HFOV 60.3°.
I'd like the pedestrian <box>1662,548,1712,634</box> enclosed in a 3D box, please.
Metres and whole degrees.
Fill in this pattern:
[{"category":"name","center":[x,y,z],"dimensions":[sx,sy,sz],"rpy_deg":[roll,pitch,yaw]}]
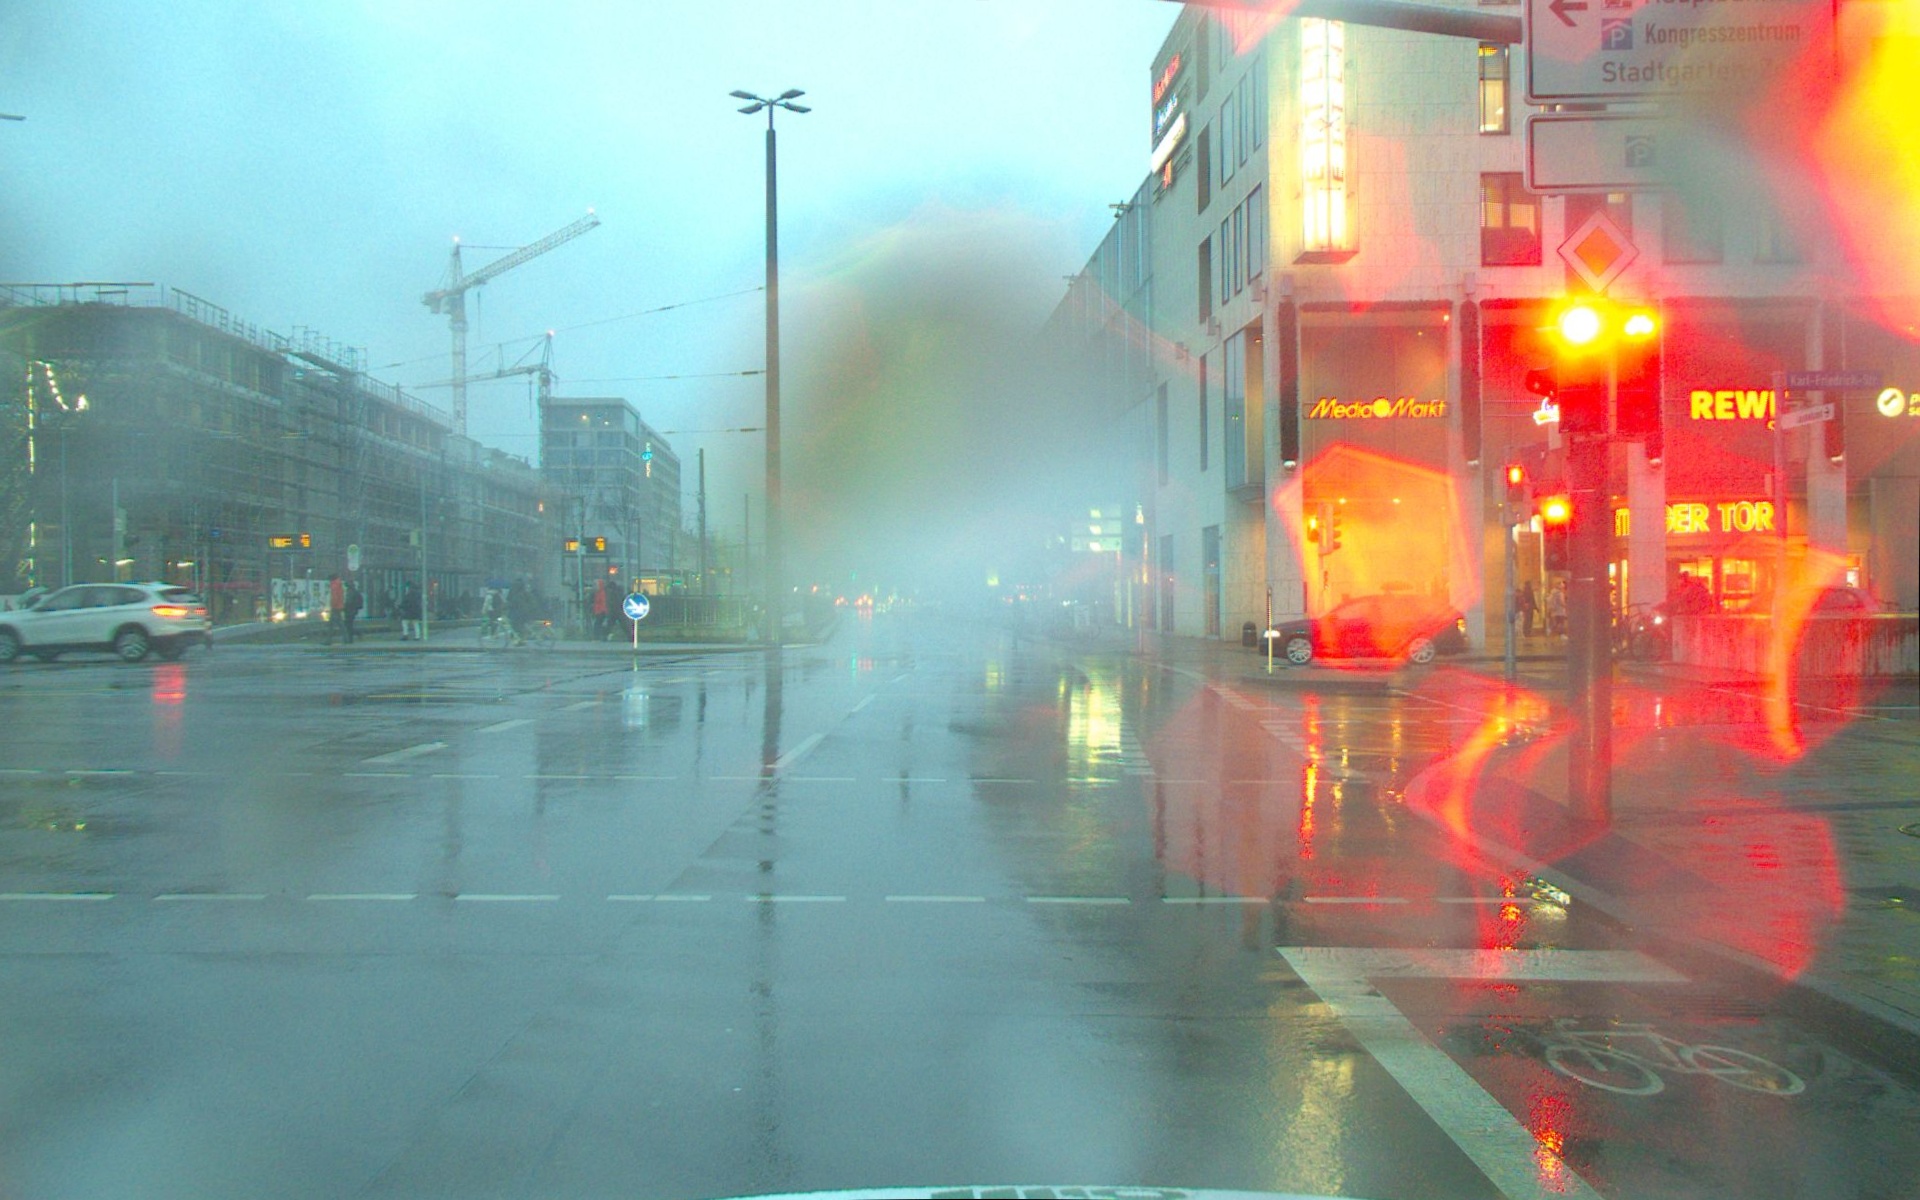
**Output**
[{"category":"pedestrian","center":[14.000,-0.167,31.862],"dimensions":[0.764,1.623,0.613],"rpy_deg":[-1,0,14]}]

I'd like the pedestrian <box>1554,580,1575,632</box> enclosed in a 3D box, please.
[{"category":"pedestrian","center":[20.354,0.196,55.707],"dimensions":[0.526,1.748,0.500],"rpy_deg":[-1,0,37]}]

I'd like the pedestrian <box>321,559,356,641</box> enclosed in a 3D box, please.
[{"category":"pedestrian","center":[-16.396,0.001,43.622],"dimensions":[0.682,2.124,0.604],"rpy_deg":[0,0,-41]}]

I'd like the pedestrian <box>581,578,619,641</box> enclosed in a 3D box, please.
[{"category":"pedestrian","center":[-9.992,0.264,45.912],"dimensions":[0.814,1.709,0.619],"rpy_deg":[-1,0,23]}]

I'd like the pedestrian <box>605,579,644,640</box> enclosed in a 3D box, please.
[{"category":"pedestrian","center":[-9.449,0.270,46.648],"dimensions":[0.826,1.718,0.677],"rpy_deg":[-1,0,25]}]

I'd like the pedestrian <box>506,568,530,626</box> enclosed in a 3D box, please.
[{"category":"pedestrian","center":[-13.610,-0.089,50.925],"dimensions":[0.607,1.776,0.612],"rpy_deg":[-1,0,-6]}]

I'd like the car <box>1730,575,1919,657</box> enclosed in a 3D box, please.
[{"category":"car","center":[18.200,0.335,34.493],"dimensions":[3.498,1.610,1.675],"rpy_deg":[-1,-1,-3]}]

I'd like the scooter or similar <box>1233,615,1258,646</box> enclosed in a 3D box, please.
[{"category":"scooter or similar","center":[8.873,0.940,51.396],"dimensions":[0.726,0.932,0.400],"rpy_deg":[-1,0,0]}]

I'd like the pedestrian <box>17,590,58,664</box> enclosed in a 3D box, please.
[{"category":"pedestrian","center":[-25.787,0.751,46.241],"dimensions":[0.778,2.049,0.745],"rpy_deg":[-1,0,-11]}]

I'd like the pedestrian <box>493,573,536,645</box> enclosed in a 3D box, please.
[{"category":"pedestrian","center":[-10.228,0.205,37.968],"dimensions":[0.798,1.598,0.536],"rpy_deg":[2,-3,-4]}]

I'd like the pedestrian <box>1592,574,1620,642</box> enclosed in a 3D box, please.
[{"category":"pedestrian","center":[16.285,0.202,41.702],"dimensions":[0.526,1.715,0.547],"rpy_deg":[-1,0,37]}]

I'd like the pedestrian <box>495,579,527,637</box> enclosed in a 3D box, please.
[{"category":"pedestrian","center":[-12.854,0.216,47.319],"dimensions":[0.697,1.647,0.609],"rpy_deg":[-1,0,45]}]

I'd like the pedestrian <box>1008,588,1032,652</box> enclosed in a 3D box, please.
[{"category":"pedestrian","center":[1.718,0.569,47.210],"dimensions":[0.620,1.803,0.483],"rpy_deg":[-1,0,-2]}]

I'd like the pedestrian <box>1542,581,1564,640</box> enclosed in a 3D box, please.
[{"category":"pedestrian","center":[17.980,0.312,50.156],"dimensions":[0.501,1.791,0.374],"rpy_deg":[-1,0,-1]}]

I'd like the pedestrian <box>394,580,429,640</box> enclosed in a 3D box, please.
[{"category":"pedestrian","center":[-15.256,0.266,45.999],"dimensions":[0.691,1.647,0.681],"rpy_deg":[-1,0,8]}]

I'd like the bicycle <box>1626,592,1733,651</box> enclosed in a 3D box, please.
[{"category":"bicycle","center":[13.844,0.413,31.858],"dimensions":[1.806,1.112,0.618],"rpy_deg":[-1,0,14]}]

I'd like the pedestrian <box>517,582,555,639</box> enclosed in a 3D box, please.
[{"category":"pedestrian","center":[-12.229,0.296,47.696],"dimensions":[0.739,1.635,0.799],"rpy_deg":[0,0,-43]}]

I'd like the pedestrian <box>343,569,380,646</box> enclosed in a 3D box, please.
[{"category":"pedestrian","center":[-16.128,0.206,44.550],"dimensions":[0.770,2.049,0.604],"rpy_deg":[-1,0,-39]}]

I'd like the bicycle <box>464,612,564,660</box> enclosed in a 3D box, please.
[{"category":"bicycle","center":[-10.217,0.827,37.937],"dimensions":[2.087,1.009,0.541],"rpy_deg":[2,-4,-5]}]

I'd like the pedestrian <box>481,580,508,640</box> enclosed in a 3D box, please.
[{"category":"pedestrian","center":[-13.864,0.299,49.241],"dimensions":[0.606,1.776,0.613],"rpy_deg":[-1,0,0]}]

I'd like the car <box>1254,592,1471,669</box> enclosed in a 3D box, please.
[{"category":"car","center":[8.640,0.651,35.792],"dimensions":[4.439,1.601,1.798],"rpy_deg":[-1,0,12]}]

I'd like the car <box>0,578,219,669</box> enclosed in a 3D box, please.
[{"category":"car","center":[-17.911,0.475,34.377],"dimensions":[4.216,1.792,1.706],"rpy_deg":[-1,0,-2]}]

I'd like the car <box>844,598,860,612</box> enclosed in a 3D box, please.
[{"category":"car","center":[-14.746,0.646,226.013],"dimensions":[1.850,1.814,3.713],"rpy_deg":[1,-1,-1]}]

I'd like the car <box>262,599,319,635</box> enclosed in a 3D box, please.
[{"category":"car","center":[-39.308,1.000,97.224],"dimensions":[1.954,2.049,3.996],"rpy_deg":[-1,0,-4]}]

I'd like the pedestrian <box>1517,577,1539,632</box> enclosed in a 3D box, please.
[{"category":"pedestrian","center":[18.244,0.144,53.131],"dimensions":[0.526,1.748,0.500],"rpy_deg":[-1,0,37]}]

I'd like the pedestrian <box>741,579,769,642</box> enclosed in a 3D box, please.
[{"category":"pedestrian","center":[-5.890,0.289,47.548],"dimensions":[0.688,1.791,0.652],"rpy_deg":[-1,0,-1]}]
